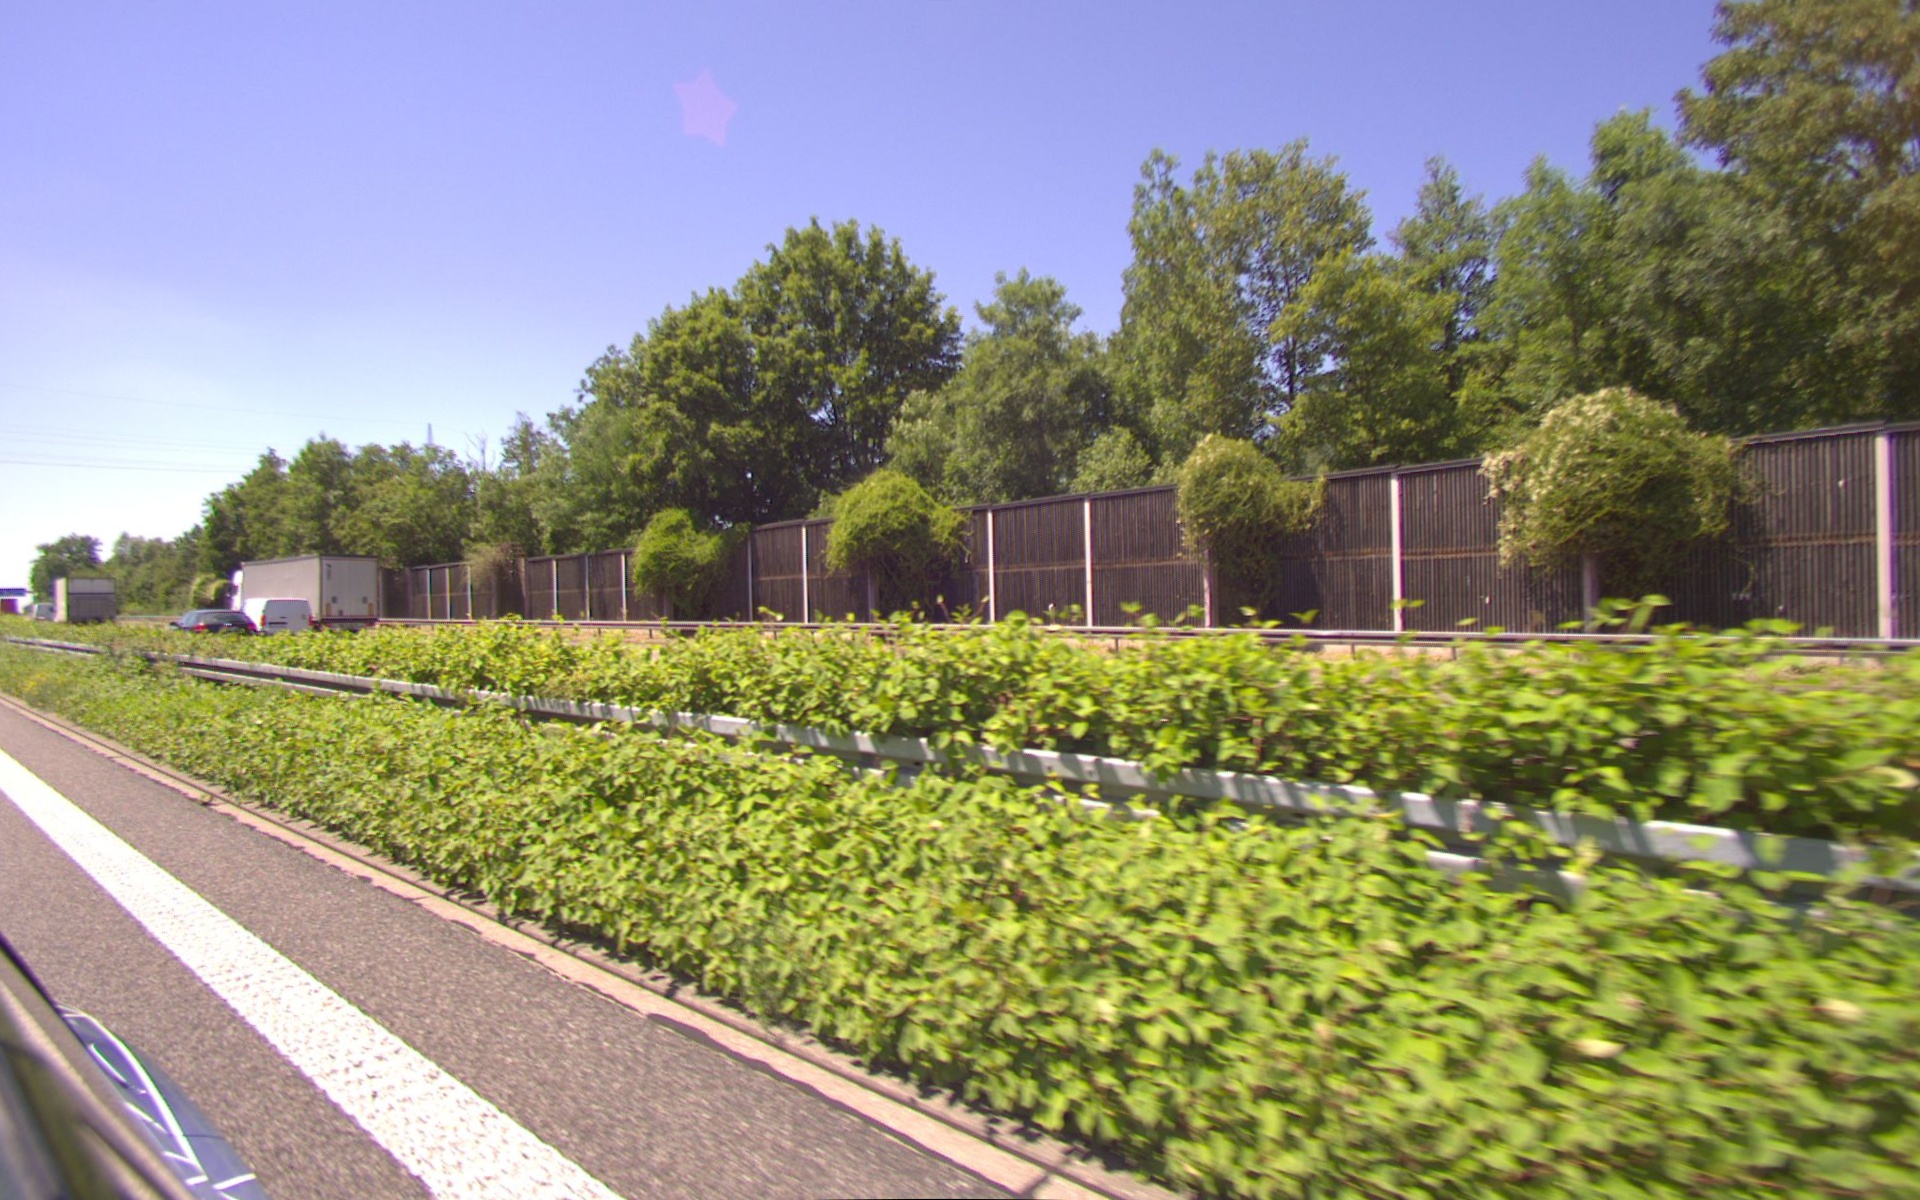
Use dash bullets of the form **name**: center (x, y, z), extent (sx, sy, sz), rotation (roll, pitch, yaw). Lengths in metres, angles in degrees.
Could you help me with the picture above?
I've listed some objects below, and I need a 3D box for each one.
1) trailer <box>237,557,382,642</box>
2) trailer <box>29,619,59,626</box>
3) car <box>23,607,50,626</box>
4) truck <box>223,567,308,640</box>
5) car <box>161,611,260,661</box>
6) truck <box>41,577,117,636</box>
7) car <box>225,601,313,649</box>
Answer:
- **trailer**: center (-33.992, 0.081, 52.485), extent (13.756, 3.939, 2.700), rotation (-1, -1, 42)
- **trailer**: center (-116.645, 2.846, 128.843), extent (6.278, 0.813, 2.139), rotation (-1, -1, 41)
- **car**: center (-121.074, 2.167, 132.689), extent (5.410, 2.449, 2.003), rotation (-1, -1, 41)
- **truck**: center (-39.217, 0.209, 57.101), extent (5.570, 3.924, 2.658), rotation (-1, -1, 41)
- **car**: center (-22.918, 1.063, 30.903), extent (3.911, 1.401, 1.609), rotation (-1, -1, 40)
- **truck**: center (-50.121, 0.413, 57.497), extent (8.530, 3.138, 2.170), rotation (-1, -1, 42)
- **car**: center (-28.235, 0.982, 41.296), extent (4.815, 1.834, 1.848), rotation (-1, -1, 41)
